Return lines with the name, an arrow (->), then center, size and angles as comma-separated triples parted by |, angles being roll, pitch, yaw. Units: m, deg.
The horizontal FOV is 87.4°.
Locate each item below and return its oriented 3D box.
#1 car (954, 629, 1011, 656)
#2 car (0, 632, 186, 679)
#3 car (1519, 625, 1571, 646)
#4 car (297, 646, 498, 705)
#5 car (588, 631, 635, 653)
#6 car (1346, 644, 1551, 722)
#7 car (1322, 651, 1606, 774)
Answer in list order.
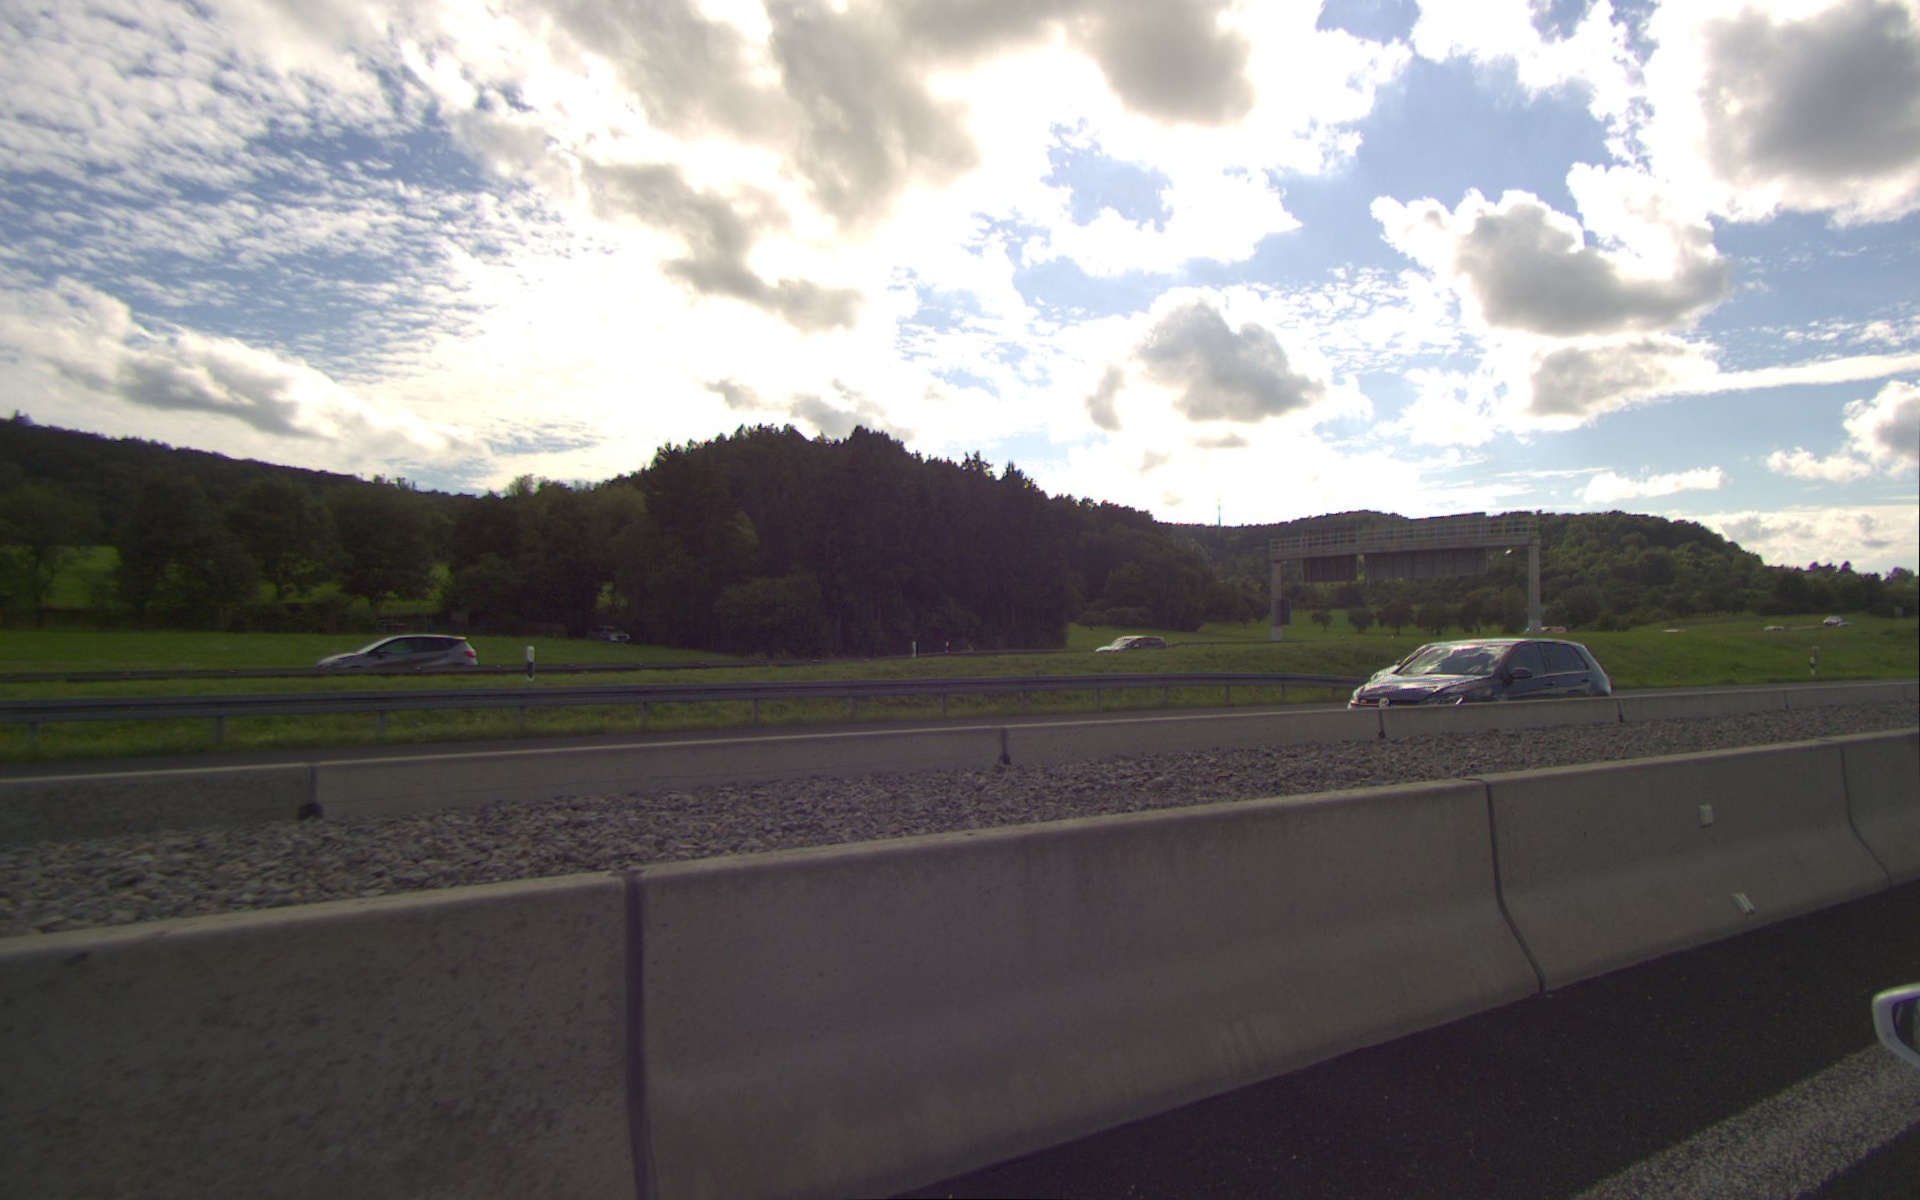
car -> 1.708, 3.220, 76.133 | 3.958, 2.040, 1.982 | 2, -3, -34
car -> -30.303, 1.932, 35.273 | 4.842, 1.568, 1.761 | 2, -3, -36
car -> 46.615, 2.847, 79.987 | 4.842, 1.568, 1.761 | 2, -3, -36
car -> -15.965, 2.093, 28.646 | 4.842, 1.568, 1.761 | 2, -3, -36
car -> -29.478, 3.556, 85.028 | 3.939, 1.706, 1.991 | 0, -1, 40
car -> 9.835, 1.609, 20.150 | 4.109, 1.416, 1.720 | 2, -3, -30
car -> 6.736, 1.394, 13.367 | 3.698, 1.416, 1.634 | 2, -3, -30
